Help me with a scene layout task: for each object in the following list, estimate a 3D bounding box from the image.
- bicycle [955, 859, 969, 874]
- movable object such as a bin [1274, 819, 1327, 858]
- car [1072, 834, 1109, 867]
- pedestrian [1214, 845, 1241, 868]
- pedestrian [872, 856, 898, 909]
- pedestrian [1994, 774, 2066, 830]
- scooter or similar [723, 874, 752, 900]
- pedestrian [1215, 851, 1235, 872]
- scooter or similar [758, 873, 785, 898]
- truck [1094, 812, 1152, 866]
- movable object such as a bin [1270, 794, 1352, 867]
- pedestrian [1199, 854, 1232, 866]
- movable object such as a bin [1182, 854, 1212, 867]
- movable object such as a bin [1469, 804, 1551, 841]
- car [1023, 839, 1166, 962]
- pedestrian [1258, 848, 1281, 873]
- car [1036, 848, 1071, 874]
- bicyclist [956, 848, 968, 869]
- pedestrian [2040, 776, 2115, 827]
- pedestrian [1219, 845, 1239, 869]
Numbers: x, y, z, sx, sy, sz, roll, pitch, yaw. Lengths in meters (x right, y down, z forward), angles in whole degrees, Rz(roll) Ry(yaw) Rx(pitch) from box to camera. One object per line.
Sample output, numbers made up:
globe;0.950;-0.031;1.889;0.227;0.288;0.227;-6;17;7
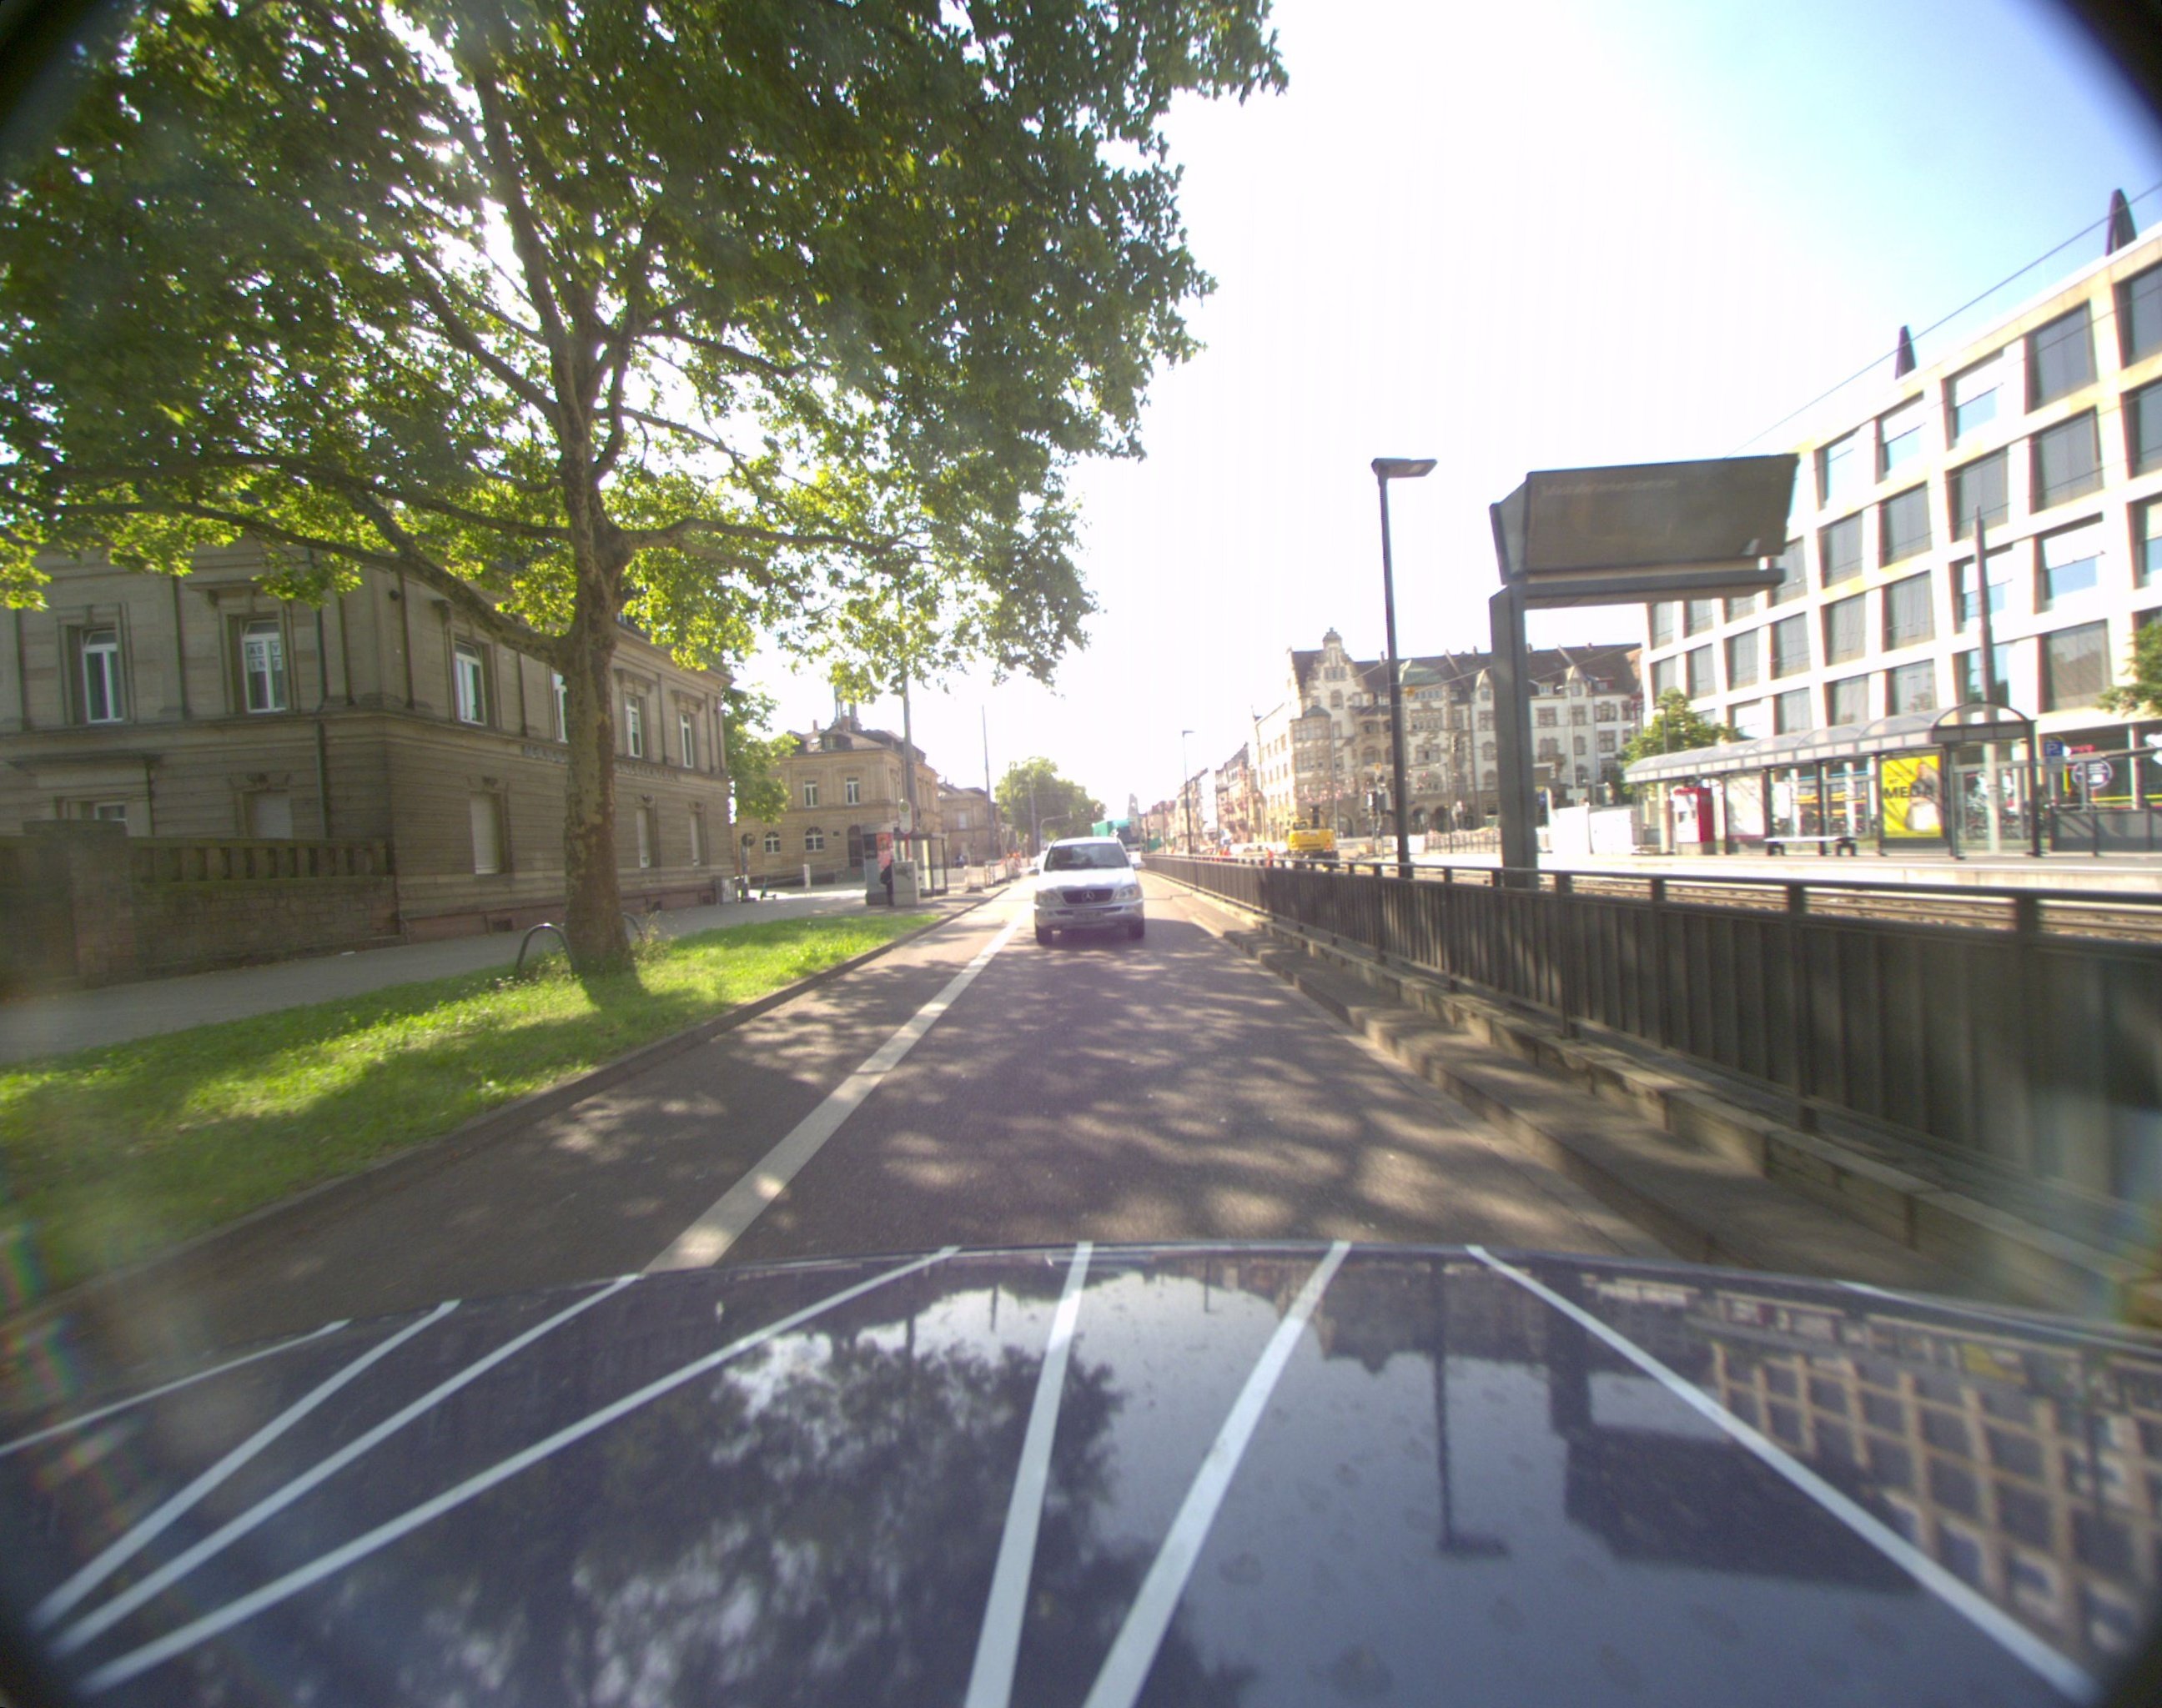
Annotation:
bicycle;-9.135;0.943;58.457;0.719;1.036;1.902;-3;0;-1
movable object such as a bin;20.773;-1.435;72.535;2.853;3.310;8.346;-3;1;3
car;0.830;-0.318;69.412;2.232;2.713;5.165;-4;1;-10
pedestrian;8.509;0.141;44.199;1.313;1.299;0.800;-3;0;25
pedestrian;-6.452;0.918;24.987;0.690;1.687;0.647;-3;1;-20
pedestrian;32.078;-1.739;25.703;0.978;1.742;1.123;-3;1;1
scooter or similar;-17.016;1.624;37.613;1.256;1.202;0.422;-2;-1;-24
pedestrian;8.654;0.446;45.592;0.983;1.183;0.800;-3;0;25
scooter or similar;-15.508;1.588;38.068;0.421;1.202;1.257;-3;-1;24
truck;3.009;-1.035;57.124;2.682;3.657;8.208;-3;0;-8
movable object such as a bin;14.719;-1.433;48.072;3.507;3.990;9.055;-3;0;25
pedestrian;8.442;0.395;47.725;1.906;0.632;0.912;-3;0;5
movable object such as a bin;6.551;0.359;42.765;1.507;0.649;0.702;-3;0;22
movable object such as a bin;36.460;-2.682;64.680;5.626;2.724;2.135;-3;1;1
car;0.285;0.655;13.663;1.998;1.686;5.225;-3;0;2
pedestrian;10.518;0.365;42.431;1.017;1.299;0.983;-3;0;5
car;-2.050;0.521;55.163;2.000;1.685;5.222;-3;0;-7
bicyclist;-9.176;0.336;58.546;0.719;1.534;0.955;-3;0;-1
pedestrian;33.180;-1.731;25.330;0.978;1.588;1.123;-3;1;1
pedestrian;8.428;0.162;43.225;0.838;1.299;0.800;-3;1;25
